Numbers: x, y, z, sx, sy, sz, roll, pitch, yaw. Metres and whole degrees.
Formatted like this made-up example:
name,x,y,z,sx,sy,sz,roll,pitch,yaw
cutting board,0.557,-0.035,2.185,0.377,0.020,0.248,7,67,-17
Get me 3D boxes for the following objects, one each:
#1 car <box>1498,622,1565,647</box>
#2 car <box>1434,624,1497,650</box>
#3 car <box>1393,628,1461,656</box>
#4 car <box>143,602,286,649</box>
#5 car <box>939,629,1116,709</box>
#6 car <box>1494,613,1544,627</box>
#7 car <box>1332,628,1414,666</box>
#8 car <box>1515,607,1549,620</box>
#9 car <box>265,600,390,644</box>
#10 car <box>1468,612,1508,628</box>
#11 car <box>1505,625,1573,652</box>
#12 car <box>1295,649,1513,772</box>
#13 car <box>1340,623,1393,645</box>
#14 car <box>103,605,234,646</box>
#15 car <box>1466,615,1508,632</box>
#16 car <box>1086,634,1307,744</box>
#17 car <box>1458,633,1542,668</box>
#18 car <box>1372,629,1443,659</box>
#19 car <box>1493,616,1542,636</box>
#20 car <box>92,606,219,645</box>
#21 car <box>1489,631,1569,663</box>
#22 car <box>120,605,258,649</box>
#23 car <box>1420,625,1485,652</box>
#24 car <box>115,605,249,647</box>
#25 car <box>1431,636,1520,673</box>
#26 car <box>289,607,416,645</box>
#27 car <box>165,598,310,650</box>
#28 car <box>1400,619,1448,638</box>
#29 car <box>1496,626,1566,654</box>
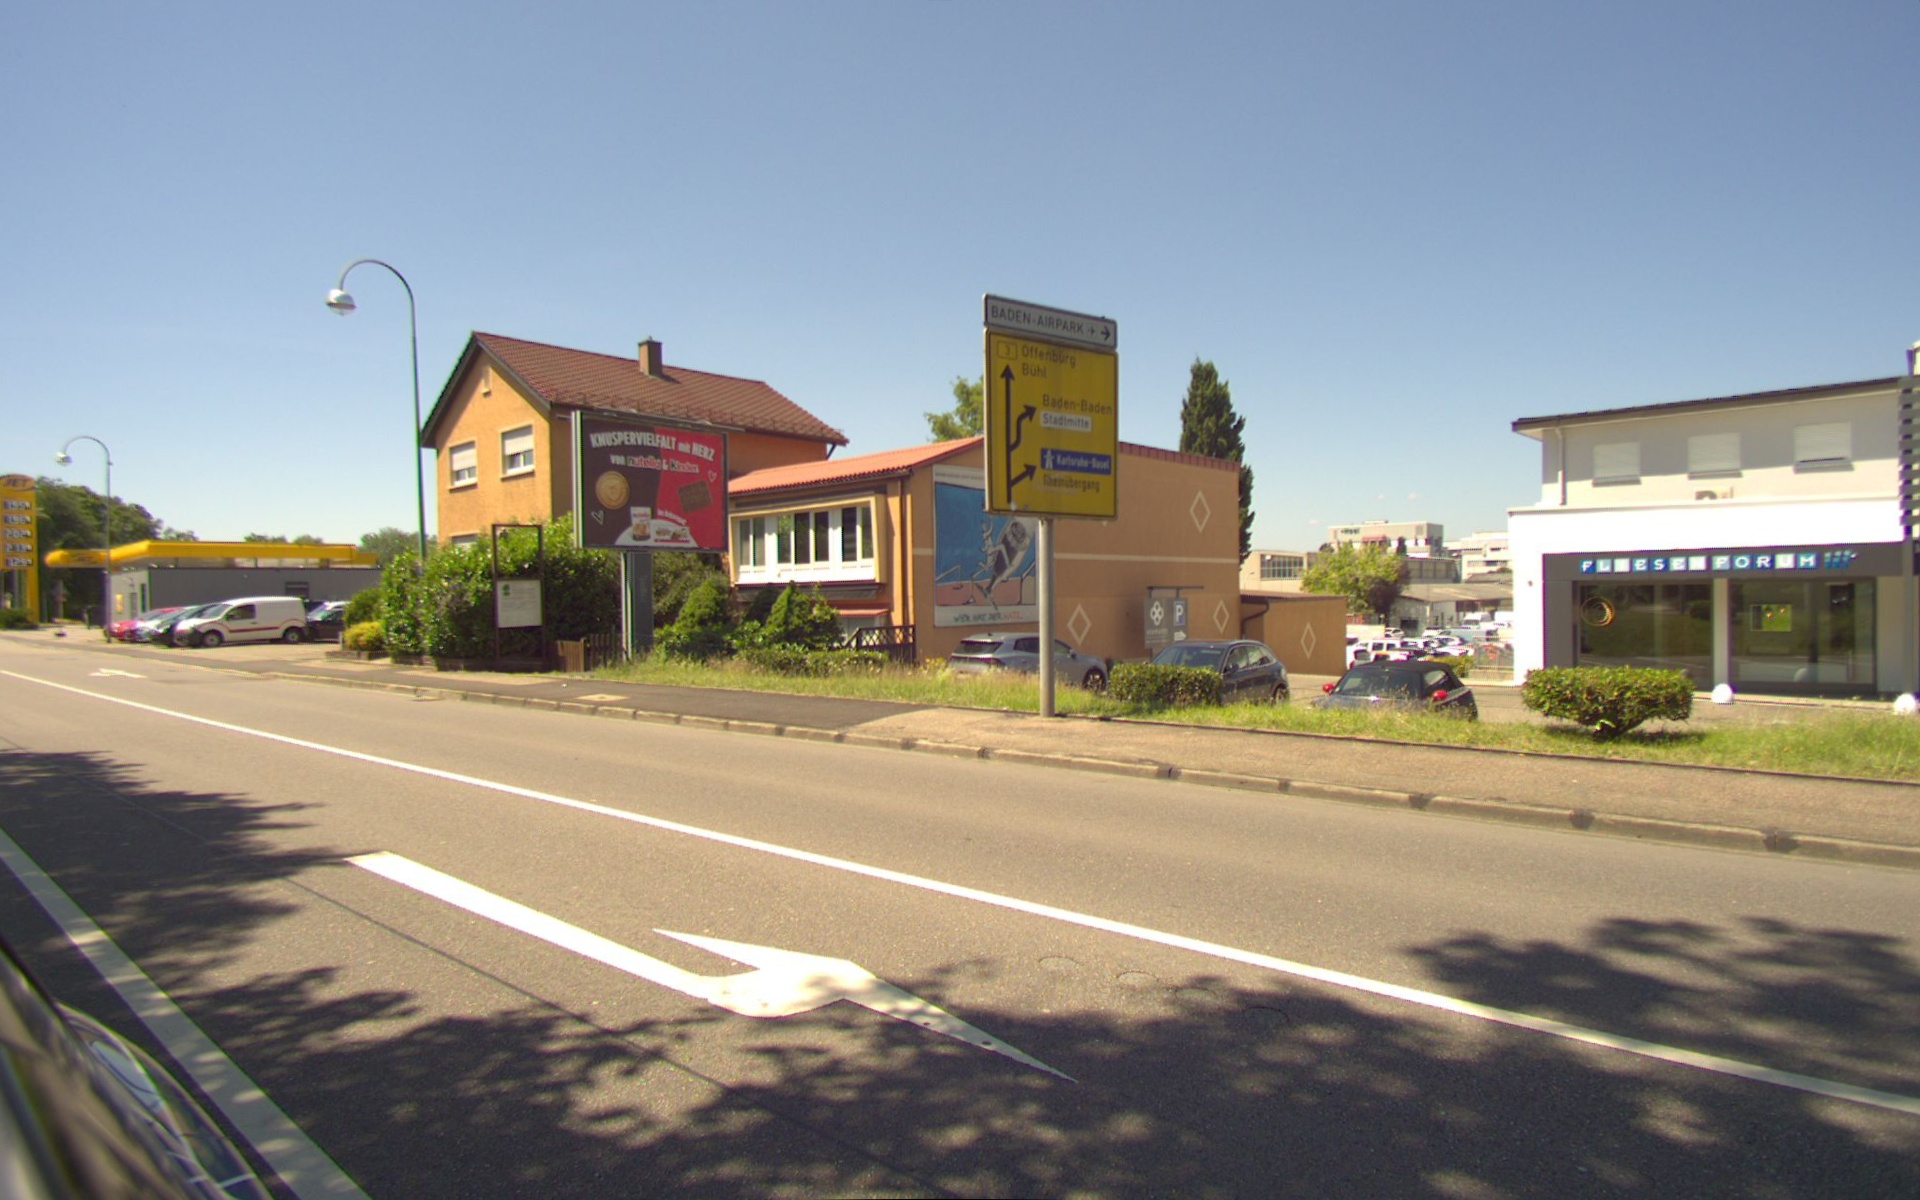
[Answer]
name,x,y,z,sx,sy,sz,roll,pitch,yaw
car,42.662,2.566,75.591,4.055,1.768,1.707,-1,-1,44
car,36.469,2.647,73.025,3.774,1.768,1.707,-1,-1,44
car,31.098,2.788,67.444,3.774,1.768,1.707,-1,-1,44
car,-29.345,0.961,39.950,1.871,1.773,4.198,-1,-1,35
car,1.641,1.544,23.735,4.165,1.621,1.773,0,-1,-42
car,71.646,2.505,129.744,5.303,1.768,2.037,-1,-1,44
car,23.949,2.691,58.774,4.001,2.029,1.971,-1,-1,44
car,76.897,1.833,136.083,3.774,1.768,1.707,-1,-1,44
car,-27.973,0.958,44.866,1.871,1.839,4.351,-1,-1,35
car,61.518,2.296,117.895,3.774,1.768,1.707,0,0,44
car,39.837,2.618,69.709,3.774,1.768,1.707,-1,-1,44
car,7.159,1.632,16.127,4.039,1.544,1.772,0,-1,-44
car,33.985,2.835,84.627,3.774,1.768,1.707,-1,-1,44
car,-35.910,1.104,46.022,1.871,1.773,4.351,-1,-1,35
car,58.399,2.592,112.152,3.774,1.768,1.707,0,0,44
car,4.410,1.503,18.466,4.462,1.654,1.772,0,-1,-44
car,29.526,2.722,55.379,3.774,1.768,1.707,-1,-1,44
car,28.289,2.773,64.060,3.774,1.768,1.707,-1,-1,44
car,53.066,2.478,96.349,3.774,1.768,1.707,-1,-3,44
car,-37.820,1.158,47.695,1.871,1.773,4.351,-1,-1,35
car,33.218,2.713,59.114,3.774,1.768,1.707,-1,-1,44
car,-32.664,1.093,42.989,1.871,1.773,4.351,-1,-1,35
car,34.426,2.672,70.792,3.774,1.768,1.707,-1,-1,44
car,-34.208,1.107,44.602,1.871,1.773,4.351,-1,-1,35
car,26.689,2.804,52.454,3.774,1.768,1.707,-1,-1,44
car,-26.111,1.079,43.617,1.871,1.575,4.351,-1,-1,35
car,-27.564,0.873,38.731,1.871,1.883,4.143,-1,-1,35
car,44.710,2.743,97.540,3.774,1.768,1.707,-1,0,44
car,38.008,2.638,67.377,3.774,1.768,1.707,-1,-1,44
